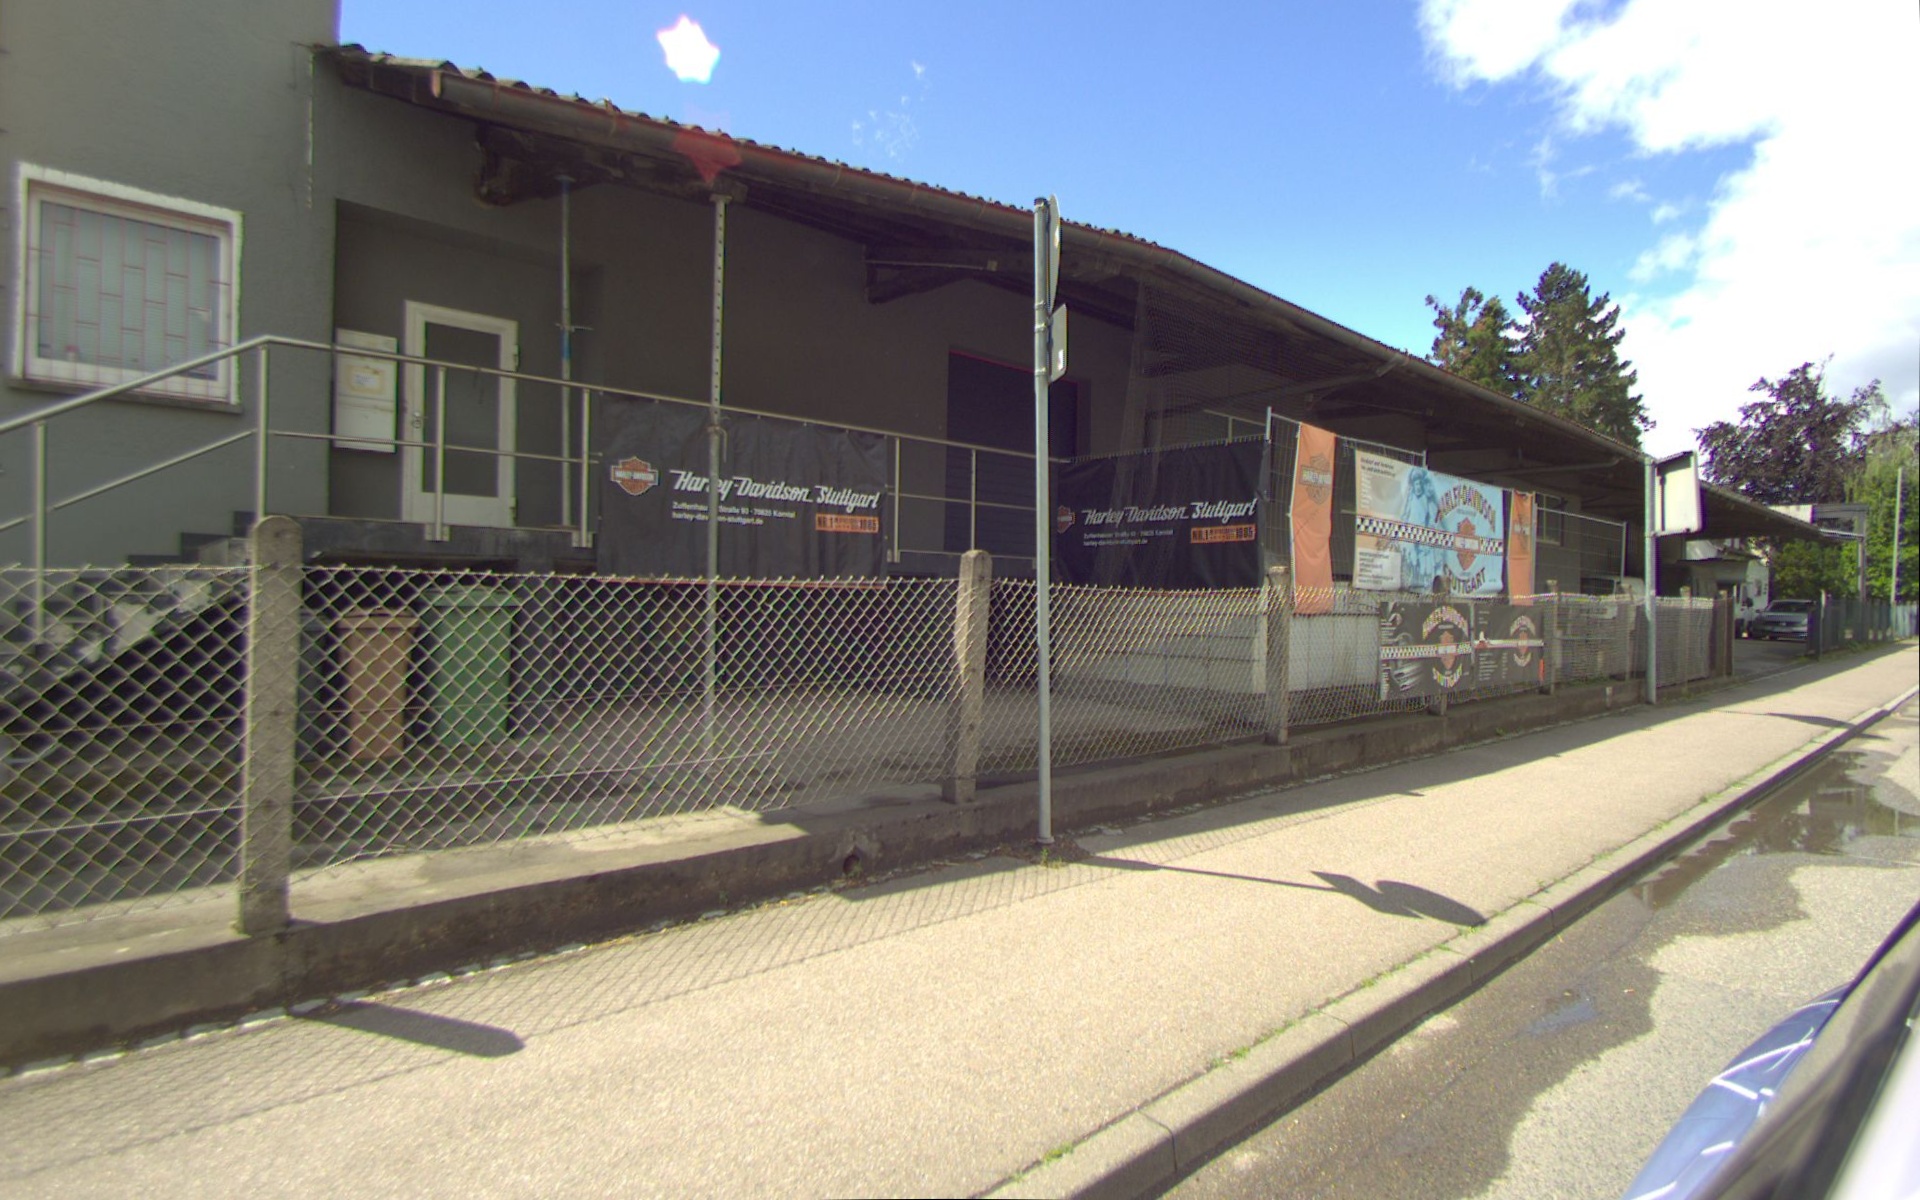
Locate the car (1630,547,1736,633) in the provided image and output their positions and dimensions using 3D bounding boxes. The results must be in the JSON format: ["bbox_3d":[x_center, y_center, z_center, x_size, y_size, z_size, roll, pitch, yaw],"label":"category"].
[{"bbox_3d":[24.834,-0.286,34.681,5.405,2.715,2.019,2,-1,-44],"label":"car"}]

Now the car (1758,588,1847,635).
[{"bbox_3d":[29.340,0.391,35.172,4.842,1.508,1.767,1,0,-43],"label":"car"}]

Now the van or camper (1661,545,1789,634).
[{"bbox_3d":[29.274,-0.376,38.625,6.798,3.099,2.883,0,1,-44],"label":"van or camper"}]

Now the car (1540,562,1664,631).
[{"bbox_3d":[19.462,-0.082,30.609,4.770,1.934,1.996,1,0,-43],"label":"car"}]
